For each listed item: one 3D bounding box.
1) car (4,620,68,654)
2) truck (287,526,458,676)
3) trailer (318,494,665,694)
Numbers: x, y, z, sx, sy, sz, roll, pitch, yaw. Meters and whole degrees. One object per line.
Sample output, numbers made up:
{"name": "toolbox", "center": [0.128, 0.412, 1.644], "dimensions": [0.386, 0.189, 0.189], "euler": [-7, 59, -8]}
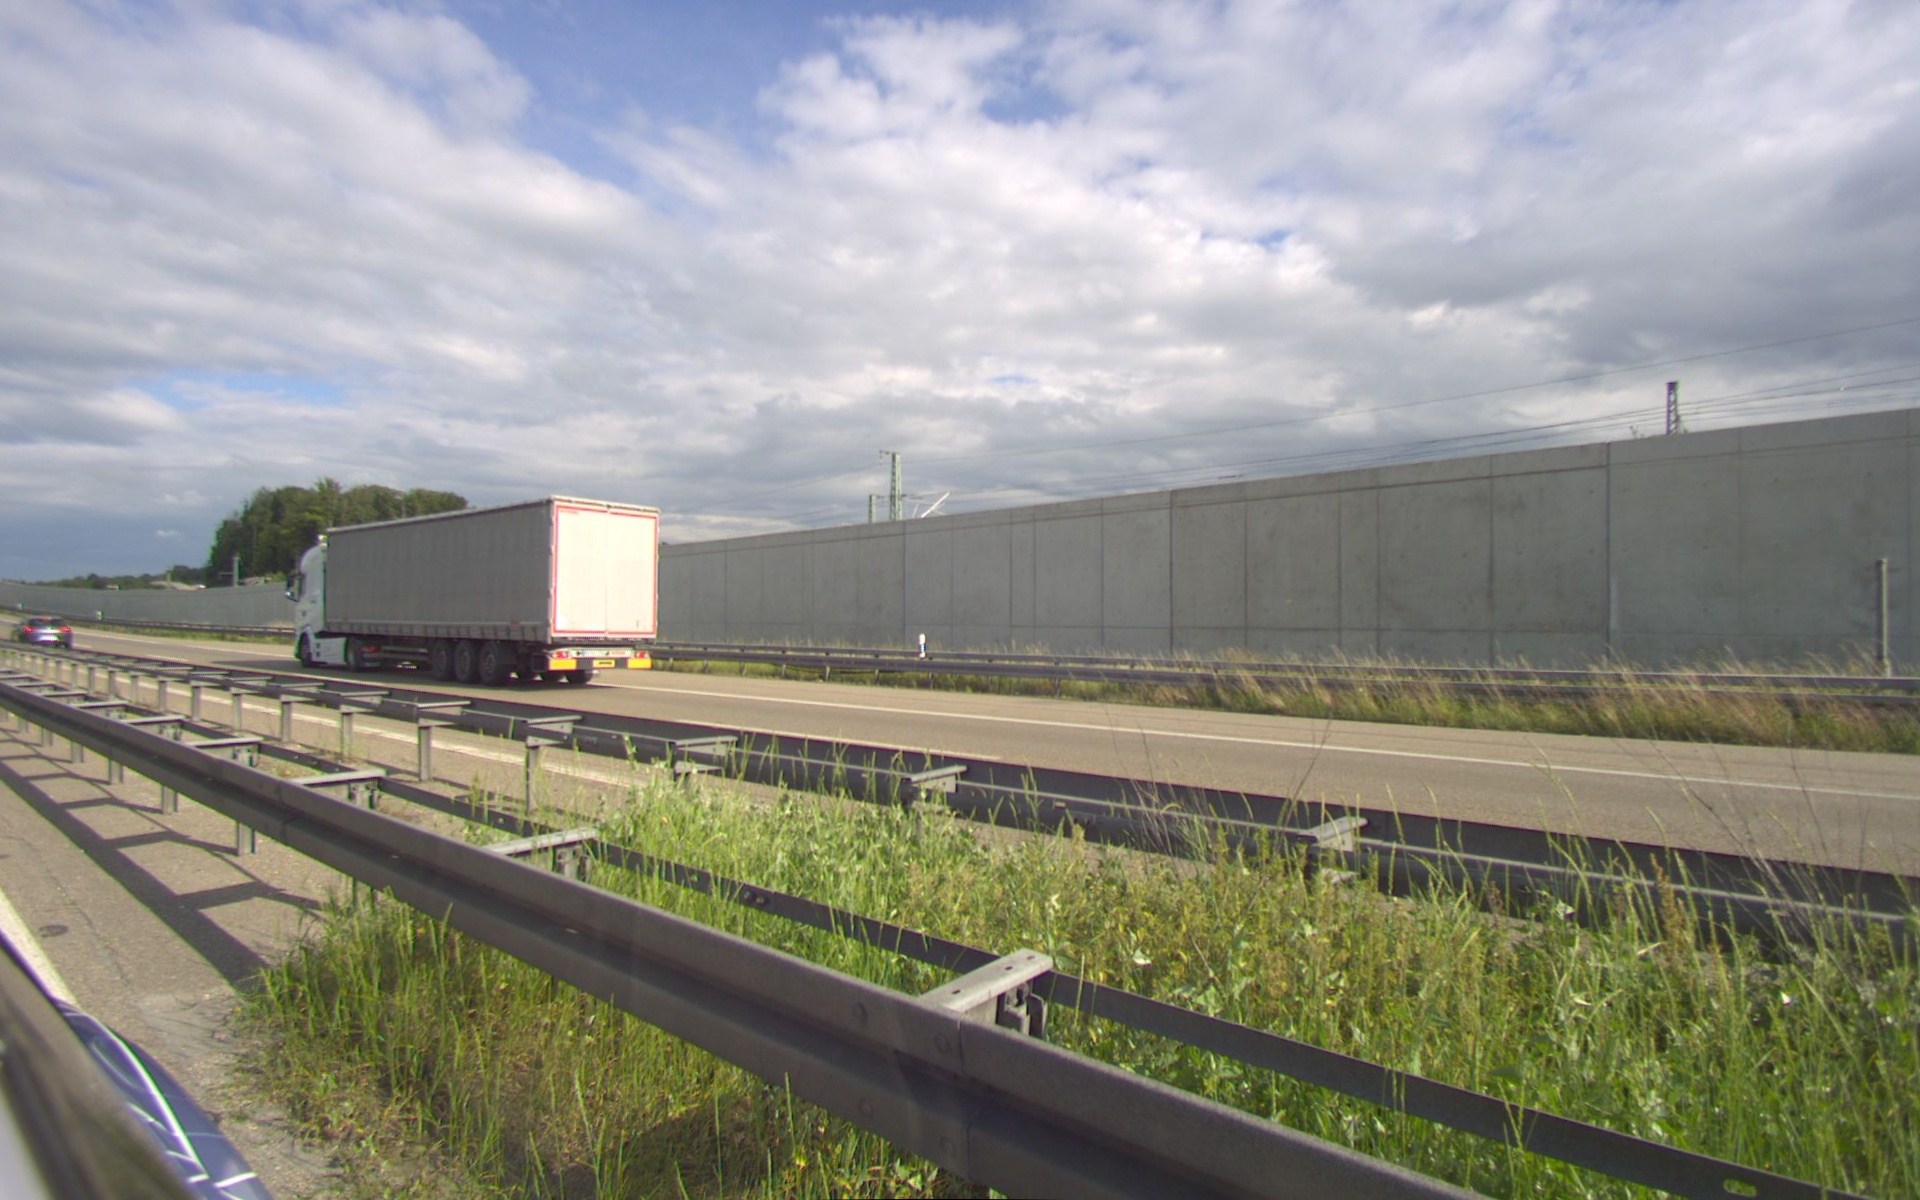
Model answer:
{"name": "car", "center": [-40.652, 1.599, 44.484], "dimensions": [3.894, 1.411, 1.616], "euler": [-1, -1, 41]}
{"name": "truck", "center": [-17.817, 0.102, 30.565], "dimensions": [5.876, 4.099, 2.657], "euler": [-1, -2, 41]}
{"name": "trailer", "center": [-12.679, 0.015, 26.098], "dimensions": [13.783, 4.069, 2.656], "euler": [-1, -2, 41]}
